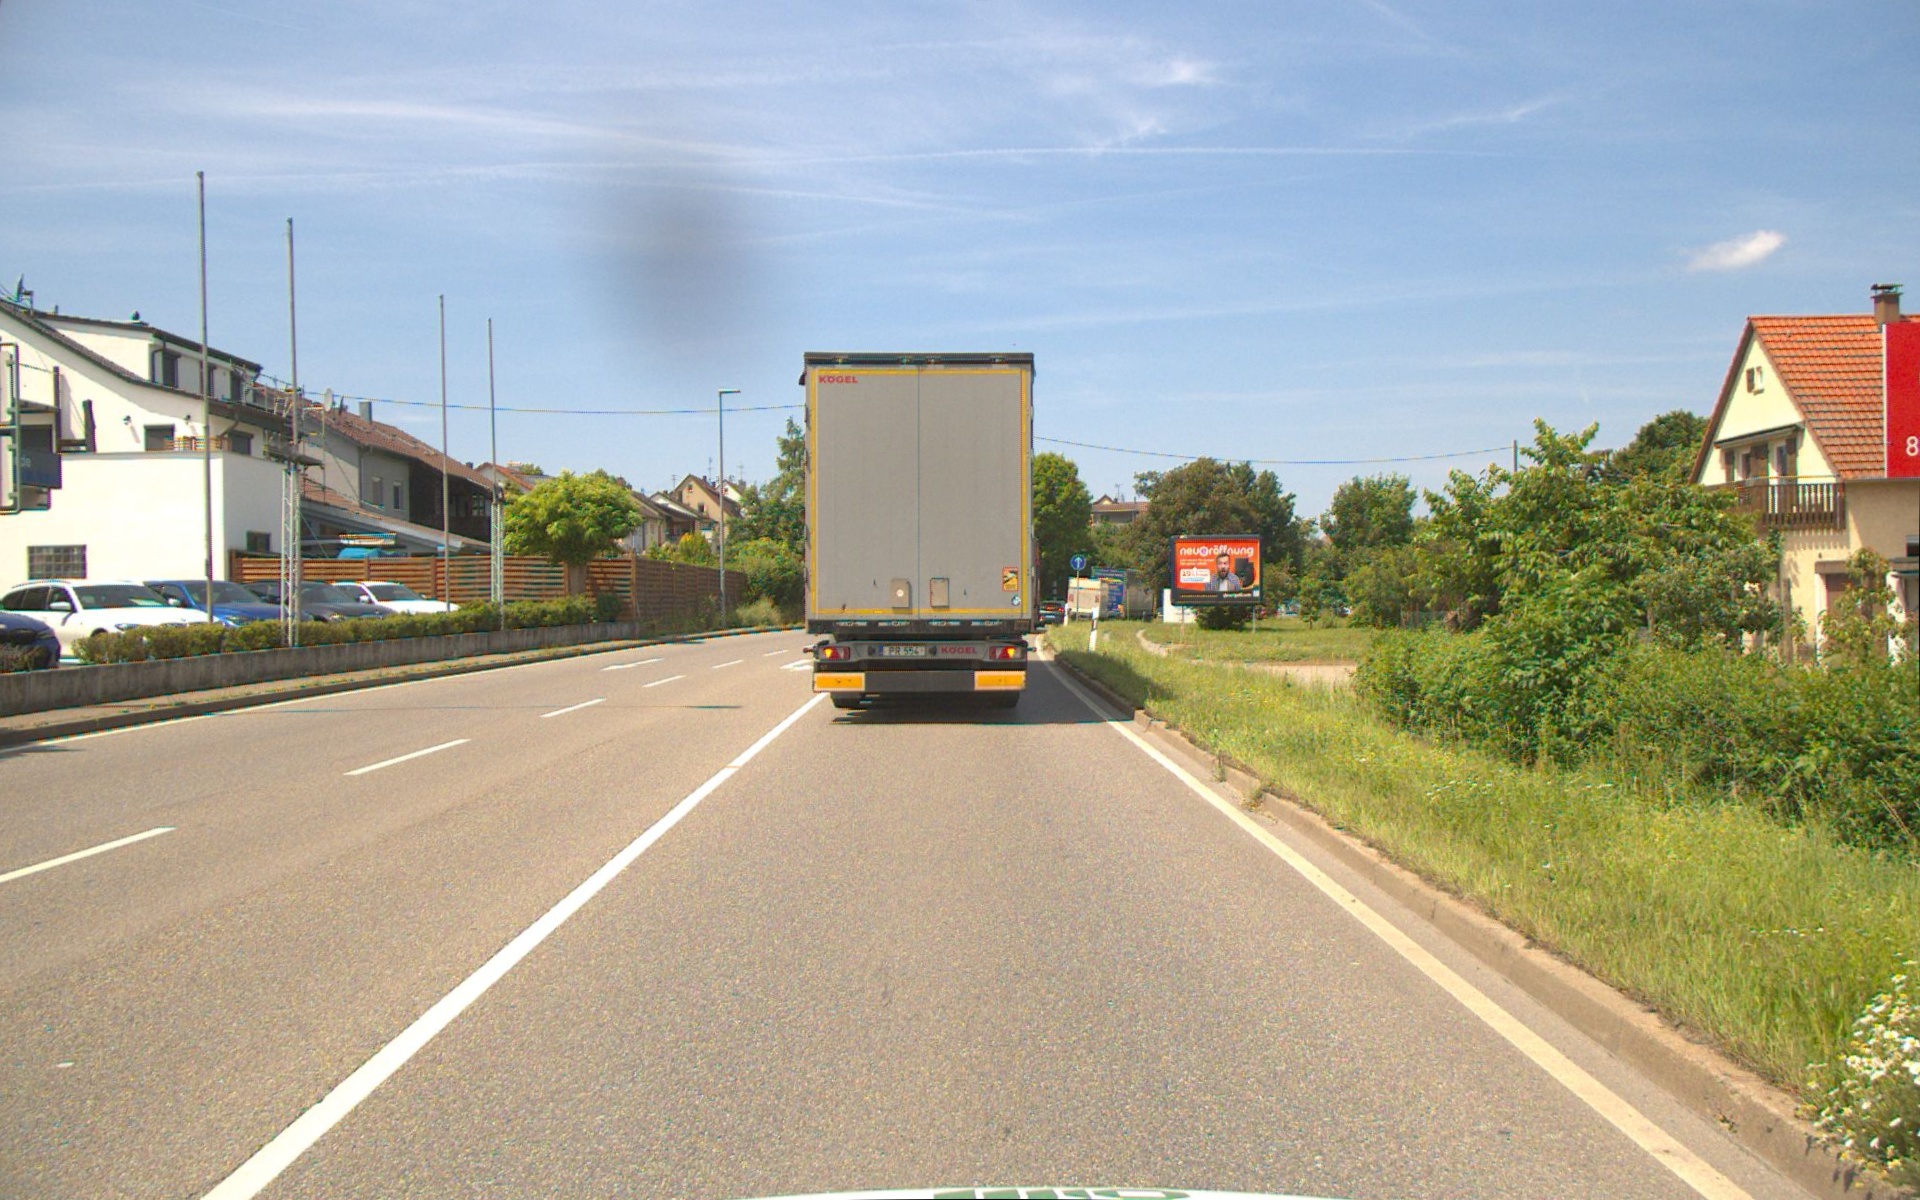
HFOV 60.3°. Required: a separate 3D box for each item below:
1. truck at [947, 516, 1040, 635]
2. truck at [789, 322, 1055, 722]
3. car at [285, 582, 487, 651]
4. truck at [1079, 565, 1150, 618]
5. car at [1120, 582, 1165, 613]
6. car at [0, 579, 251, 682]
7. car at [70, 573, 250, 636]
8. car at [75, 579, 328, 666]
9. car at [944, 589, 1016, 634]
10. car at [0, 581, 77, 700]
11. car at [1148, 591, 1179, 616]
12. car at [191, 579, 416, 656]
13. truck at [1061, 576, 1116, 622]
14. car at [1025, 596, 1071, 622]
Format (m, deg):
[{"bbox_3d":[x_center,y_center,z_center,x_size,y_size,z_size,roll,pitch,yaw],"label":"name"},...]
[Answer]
[{"bbox_3d":[1.622,-0.815,69.145,2.702,4.364,16.424,1,-1,5],"label":"truck"},{"bbox_3d":[-0.415,-0.832,23.253,2.764,4.200,11.442,1,0,0],"label":"truck"},{"bbox_3d":[-13.036,0.370,37.532,4.243,1.473,1.855,1,-1,26],"label":"car"},{"bbox_3d":[11.219,-0.619,118.999,3.360,3.667,9.360,1,1,16],"label":"truck"},{"bbox_3d":[14.407,-0.189,130.260,2.478,2.317,6.385,1,0,16],"label":"car"},{"bbox_3d":[-13.340,0.427,26.034,4.420,1.473,1.852,1,0,33],"label":"car"},{"bbox_3d":[-20.642,0.102,42.707,3.902,1.536,1.836,1,0,14],"label":"car"},{"bbox_3d":[-13.792,0.389,30.078,4.241,1.473,1.856,1,-1,24],"label":"car"},{"bbox_3d":[0.668,0.370,52.818,1.780,1.370,3.850,1,-1,8],"label":"car"},{"bbox_3d":[-13.678,0.488,21.520,4.247,1.473,1.854,0,-1,29],"label":"car"},{"bbox_3d":[17.225,0.296,139.610,1.951,2.049,4.002,1,-1,16],"label":"car"},{"bbox_3d":[-13.427,0.347,33.810,4.243,1.473,1.897,1,-1,26],"label":"car"},{"bbox_3d":[8.372,-0.048,107.106,2.489,2.852,6.036,1,-1,15],"label":"truck"},{"bbox_3d":[5.005,0.540,93.627,1.951,1.400,4.003,1,-1,13],"label":"car"}]
